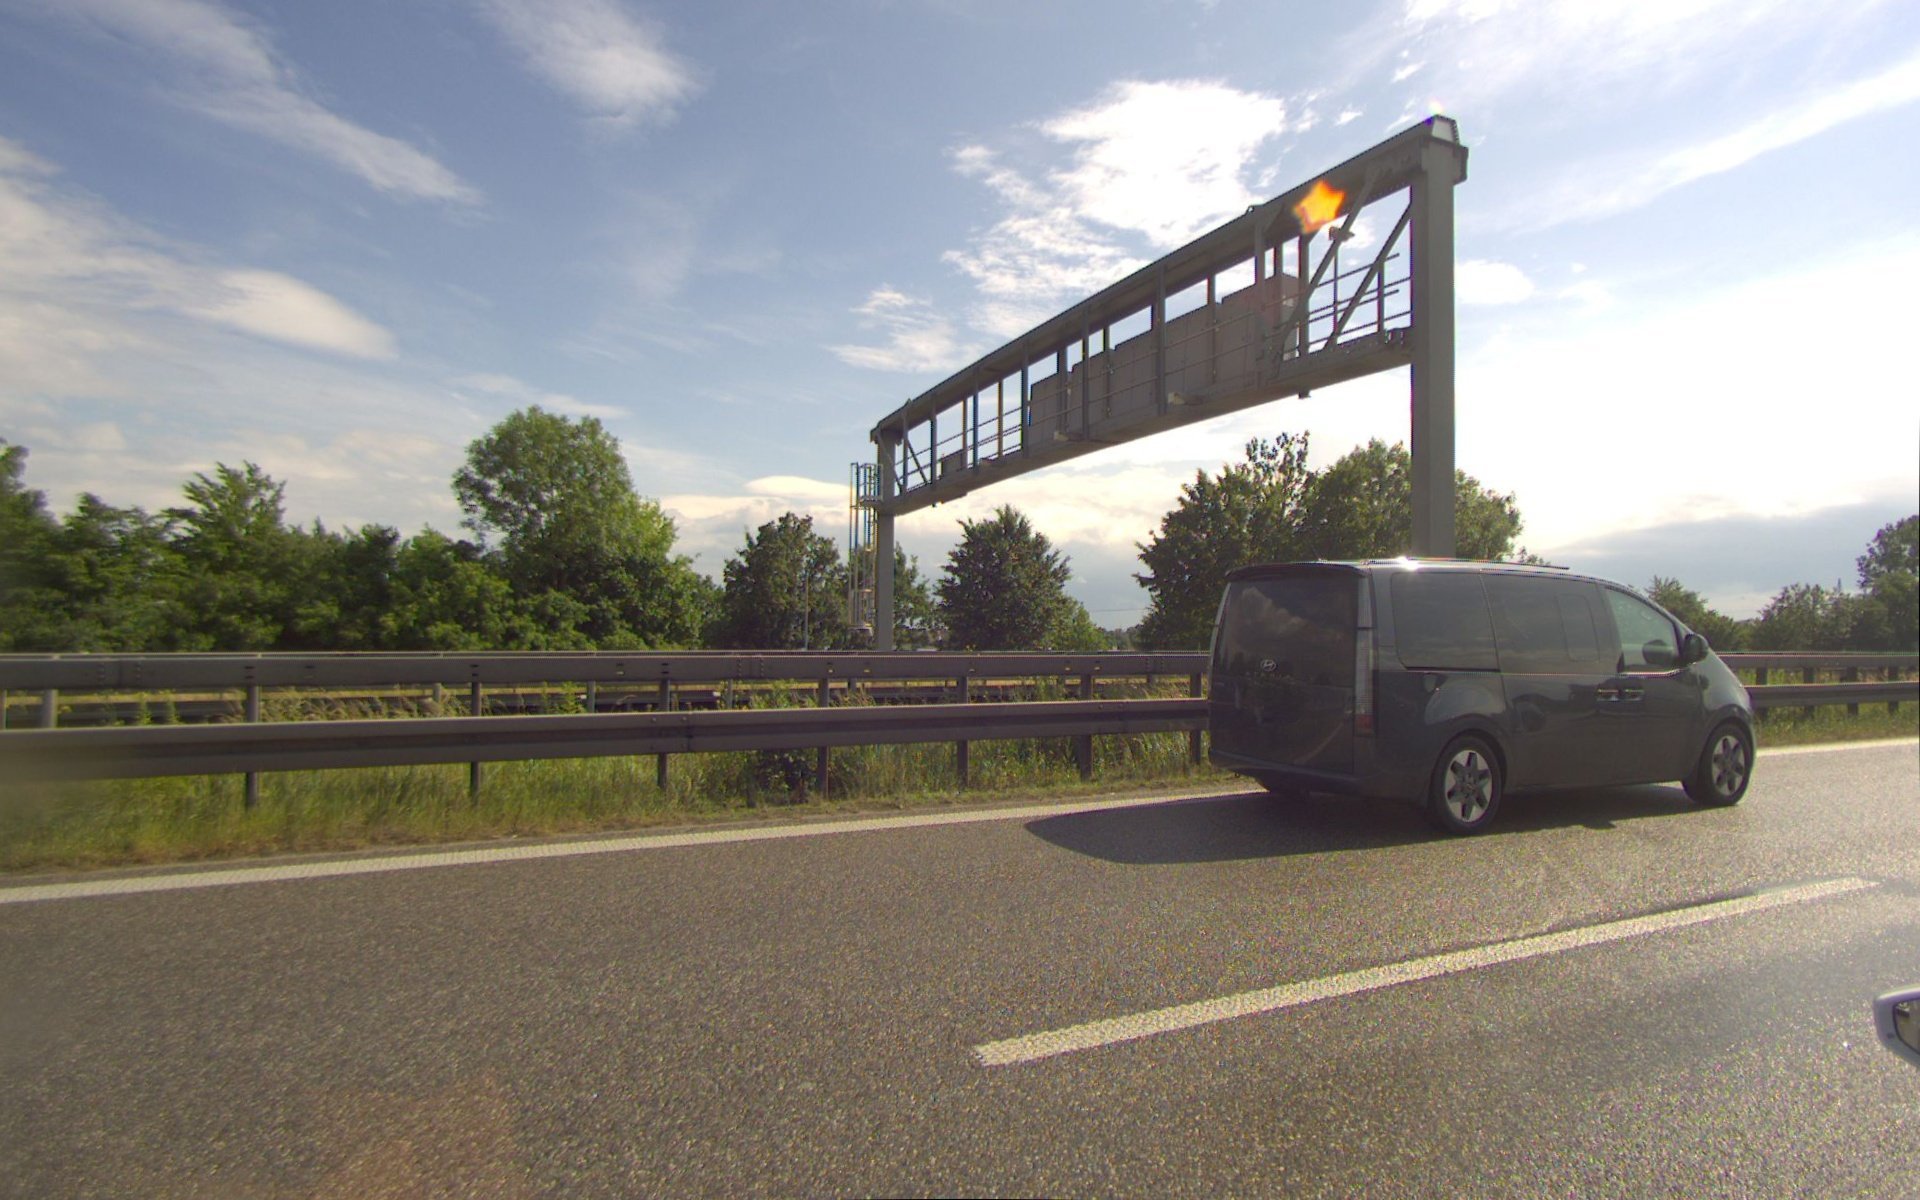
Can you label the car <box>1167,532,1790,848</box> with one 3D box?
[{"bbox_3d":[4.482,0.648,8.535,5.199,2.040,1.987,1,-1,-26],"label":"car"}]
